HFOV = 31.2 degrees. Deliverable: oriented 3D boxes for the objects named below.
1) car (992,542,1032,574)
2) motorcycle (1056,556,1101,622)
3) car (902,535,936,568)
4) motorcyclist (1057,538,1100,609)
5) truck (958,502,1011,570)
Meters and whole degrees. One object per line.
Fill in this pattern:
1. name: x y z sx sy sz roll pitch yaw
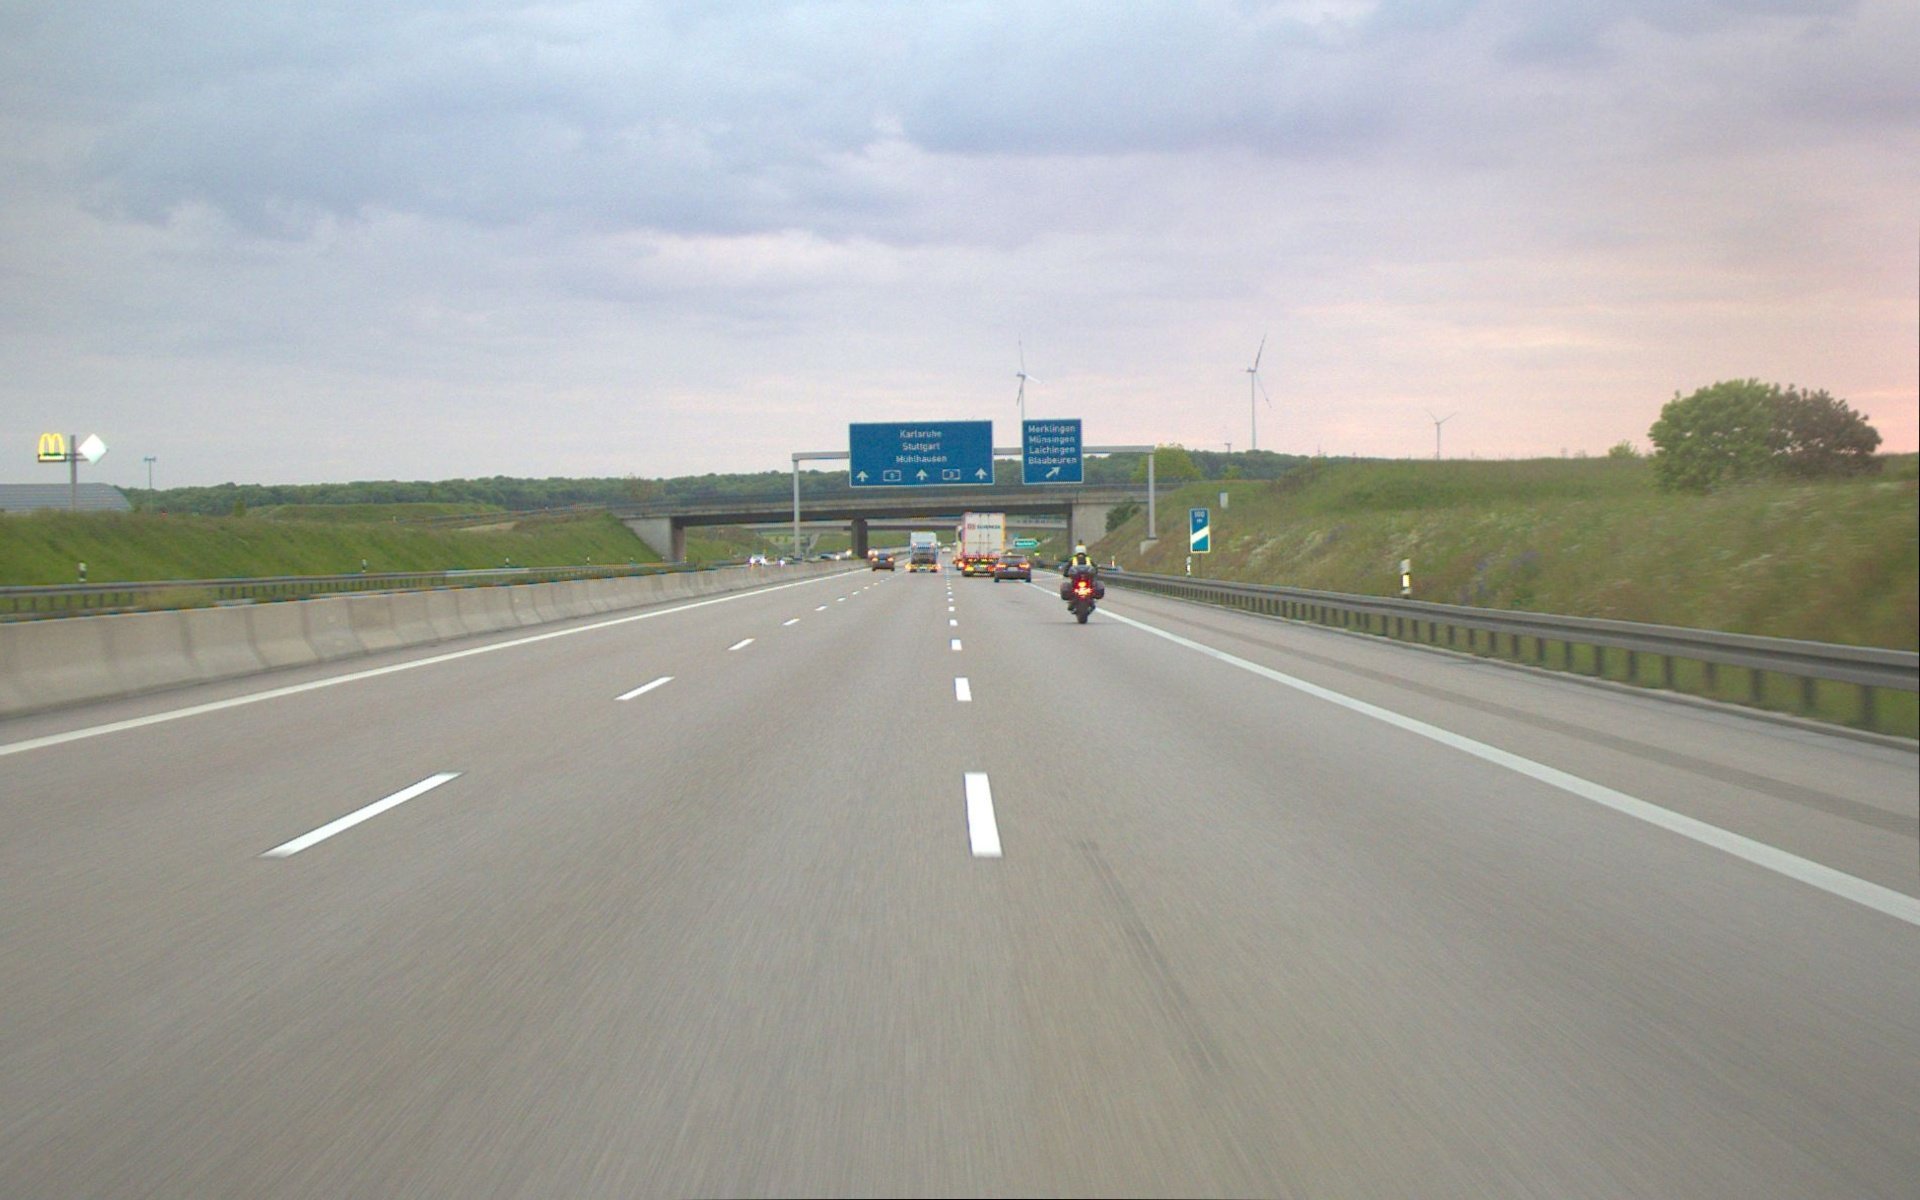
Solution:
1. car: 2.661 -2.171 176.641 1.918 1.574 4.000 0 1 -1
2. motorcycle: 2.540 -0.252 73.832 0.902 1.342 2.349 0 2 0
3. car: -3.112 -3.662 259.034 2.516 2.383 6.497 0 1 -1
4. motorcyclist: 2.533 -0.569 73.656 0.866 1.482 1.168 1 1 0
5. truck: 1.528 -4.097 219.084 3.234 4.213 9.599 1 1 0
